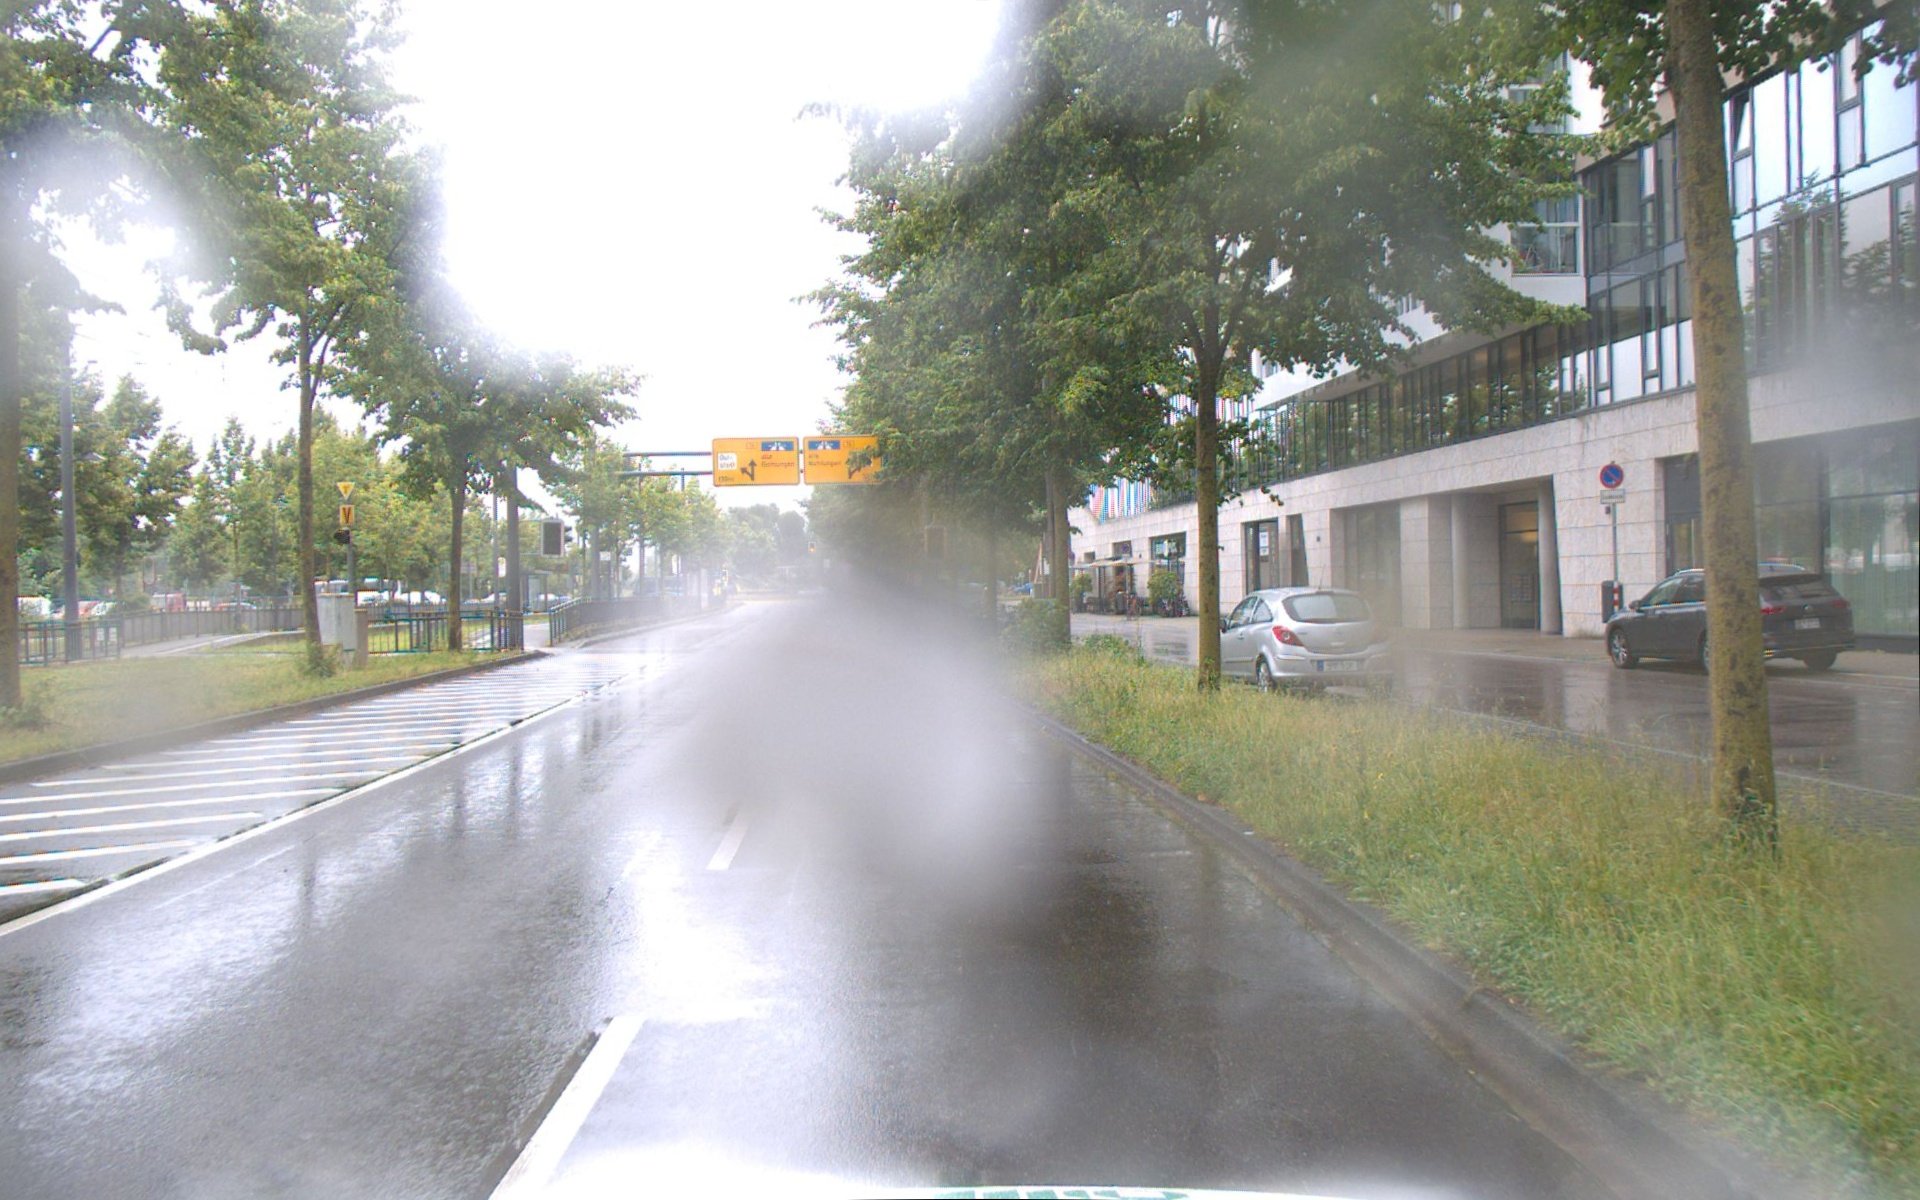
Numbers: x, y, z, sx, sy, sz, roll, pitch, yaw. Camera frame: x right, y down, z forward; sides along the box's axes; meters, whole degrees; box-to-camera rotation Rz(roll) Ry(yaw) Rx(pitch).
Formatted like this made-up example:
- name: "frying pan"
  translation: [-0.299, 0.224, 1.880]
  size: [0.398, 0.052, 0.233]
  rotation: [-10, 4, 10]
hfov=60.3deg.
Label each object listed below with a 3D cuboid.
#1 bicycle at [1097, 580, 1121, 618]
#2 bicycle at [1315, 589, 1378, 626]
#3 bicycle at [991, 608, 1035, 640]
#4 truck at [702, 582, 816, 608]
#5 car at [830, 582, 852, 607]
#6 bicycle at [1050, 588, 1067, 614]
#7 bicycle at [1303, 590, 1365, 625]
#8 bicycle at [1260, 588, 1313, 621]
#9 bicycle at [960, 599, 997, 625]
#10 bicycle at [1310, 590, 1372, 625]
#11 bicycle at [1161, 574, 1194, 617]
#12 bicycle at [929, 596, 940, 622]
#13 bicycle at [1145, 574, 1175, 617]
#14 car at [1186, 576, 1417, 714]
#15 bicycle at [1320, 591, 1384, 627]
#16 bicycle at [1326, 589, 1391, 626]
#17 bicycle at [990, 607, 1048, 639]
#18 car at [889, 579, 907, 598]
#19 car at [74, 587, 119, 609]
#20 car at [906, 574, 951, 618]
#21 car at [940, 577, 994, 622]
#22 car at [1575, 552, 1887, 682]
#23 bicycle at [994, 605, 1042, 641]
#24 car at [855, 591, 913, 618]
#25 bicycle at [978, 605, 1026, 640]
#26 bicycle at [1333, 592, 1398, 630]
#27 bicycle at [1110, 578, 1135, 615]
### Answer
- name: "bicycle"
  translation: [7.456, -0.073, 82.948]
  size: [0.632, 1.752, 3.117]
  rotation: [-1, 3, -6]
- name: "bicycle"
  translation: [11.725, 0.226, 50.143]
  size: [1.770, 1.046, 0.540]
  rotation: [-1, 0, -3]
- name: "bicycle"
  translation: [1.534, 0.693, 47.974]
  size: [1.262, 0.864, 0.275]
  rotation: [-2, 0, -1]
- name: "truck"
  translation: [-26.268, -0.699, 216.247]
  size: [14.597, 3.202, 3.512]
  rotation: [-1, 0, -12]
- name: "car"
  translation: [-10.817, -0.525, 149.708]
  size: [1.902, 2.048, 3.997]
  rotation: [-1, 3, -5]
- name: "bicycle"
  translation: [6.240, 0.048, 105.226]
  size: [0.653, 1.561, 2.762]
  rotation: [-1, 3, -5]
- name: "bicycle"
  translation: [11.658, 0.224, 51.546]
  size: [1.770, 1.046, 0.540]
  rotation: [-1, 0, -3]
- name: "bicycle"
  translation: [10.956, 0.148, 55.490]
  size: [1.660, 1.046, 0.422]
  rotation: [-1, 0, -3]
- name: "bicycle"
  translation: [0.635, 0.432, 57.508]
  size: [1.264, 0.864, 0.275]
  rotation: [-2, 0, -6]
- name: "bicycle"
  translation: [11.695, 0.225, 50.792]
  size: [1.770, 1.046, 0.540]
  rotation: [-1, 0, -3]
- name: "bicycle"
  translation: [9.582, -0.219, 72.968]
  size: [0.757, 1.752, 3.117]
  rotation: [-1, 3, -6]
- name: "bicycle"
  translation: [-0.896, 0.297, 57.168]
  size: [0.269, 0.864, 1.291]
  rotation: [-1, 0, -5]
- name: "bicycle"
  translation: [8.818, -0.200, 72.881]
  size: [0.632, 1.752, 3.117]
  rotation: [-1, 3, -6]
- name: "car"
  translation: [4.578, 0.517, 22.912]
  size: [1.844, 1.532, 4.720]
  rotation: [-1, 3, -5]
- name: "bicycle"
  translation: [11.750, 0.265, 49.537]
  size: [1.770, 1.046, 0.540]
  rotation: [-1, 0, -3]
- name: "bicycle"
  translation: [11.777, 0.220, 48.929]
  size: [1.770, 1.046, 0.540]
  rotation: [-1, 0, -3]
- name: "bicycle"
  translation: [1.705, 0.662, 47.666]
  size: [1.638, 0.864, 0.275]
  rotation: [-2, 0, -2]
- name: "car"
  translation: [-7.413, -1.370, 196.868]
  size: [1.954, 2.048, 3.998]
  rotation: [-1, 3, -4]
- name: "car"
  translation: [-77.203, -0.202, 147.909]
  size: [3.493, 1.768, 1.690]
  rotation: [-3, 3, -30]
- name: "car"
  translation: [-1.741, -0.226, 89.818]
  size: [2.080, 2.313, 4.559]
  rotation: [-1, 0, -5]
- name: "car"
  translation: [0.271, -0.028, 71.345]
  size: [1.869, 1.822, 4.683]
  rotation: [-1, 0, -5]
- name: "car"
  translation: [11.229, 0.164, 24.573]
  size: [1.955, 1.526, 5.031]
  rotation: [-6, 2, -3]
- name: "bicycle"
  translation: [1.740, 0.680, 49.578]
  size: [1.409, 1.035, 0.349]
  rotation: [-1, 0, 1]
- name: "car"
  translation: [-4.891, 0.282, 106.531]
  size: [1.802, 1.571, 3.947]
  rotation: [-3, 3, -37]
- name: "bicycle"
  translation: [1.273, 0.674, 50.361]
  size: [1.423, 1.035, 0.349]
  rotation: [-1, 0, -2]
- name: "bicycle"
  translation: [11.812, 0.324, 48.164]
  size: [1.770, 1.046, 0.401]
  rotation: [-1, 0, -3]
- name: "bicycle"
  translation: [8.178, -0.188, 83.103]
  size: [0.632, 1.752, 3.117]
  rotation: [-1, 3, -6]
